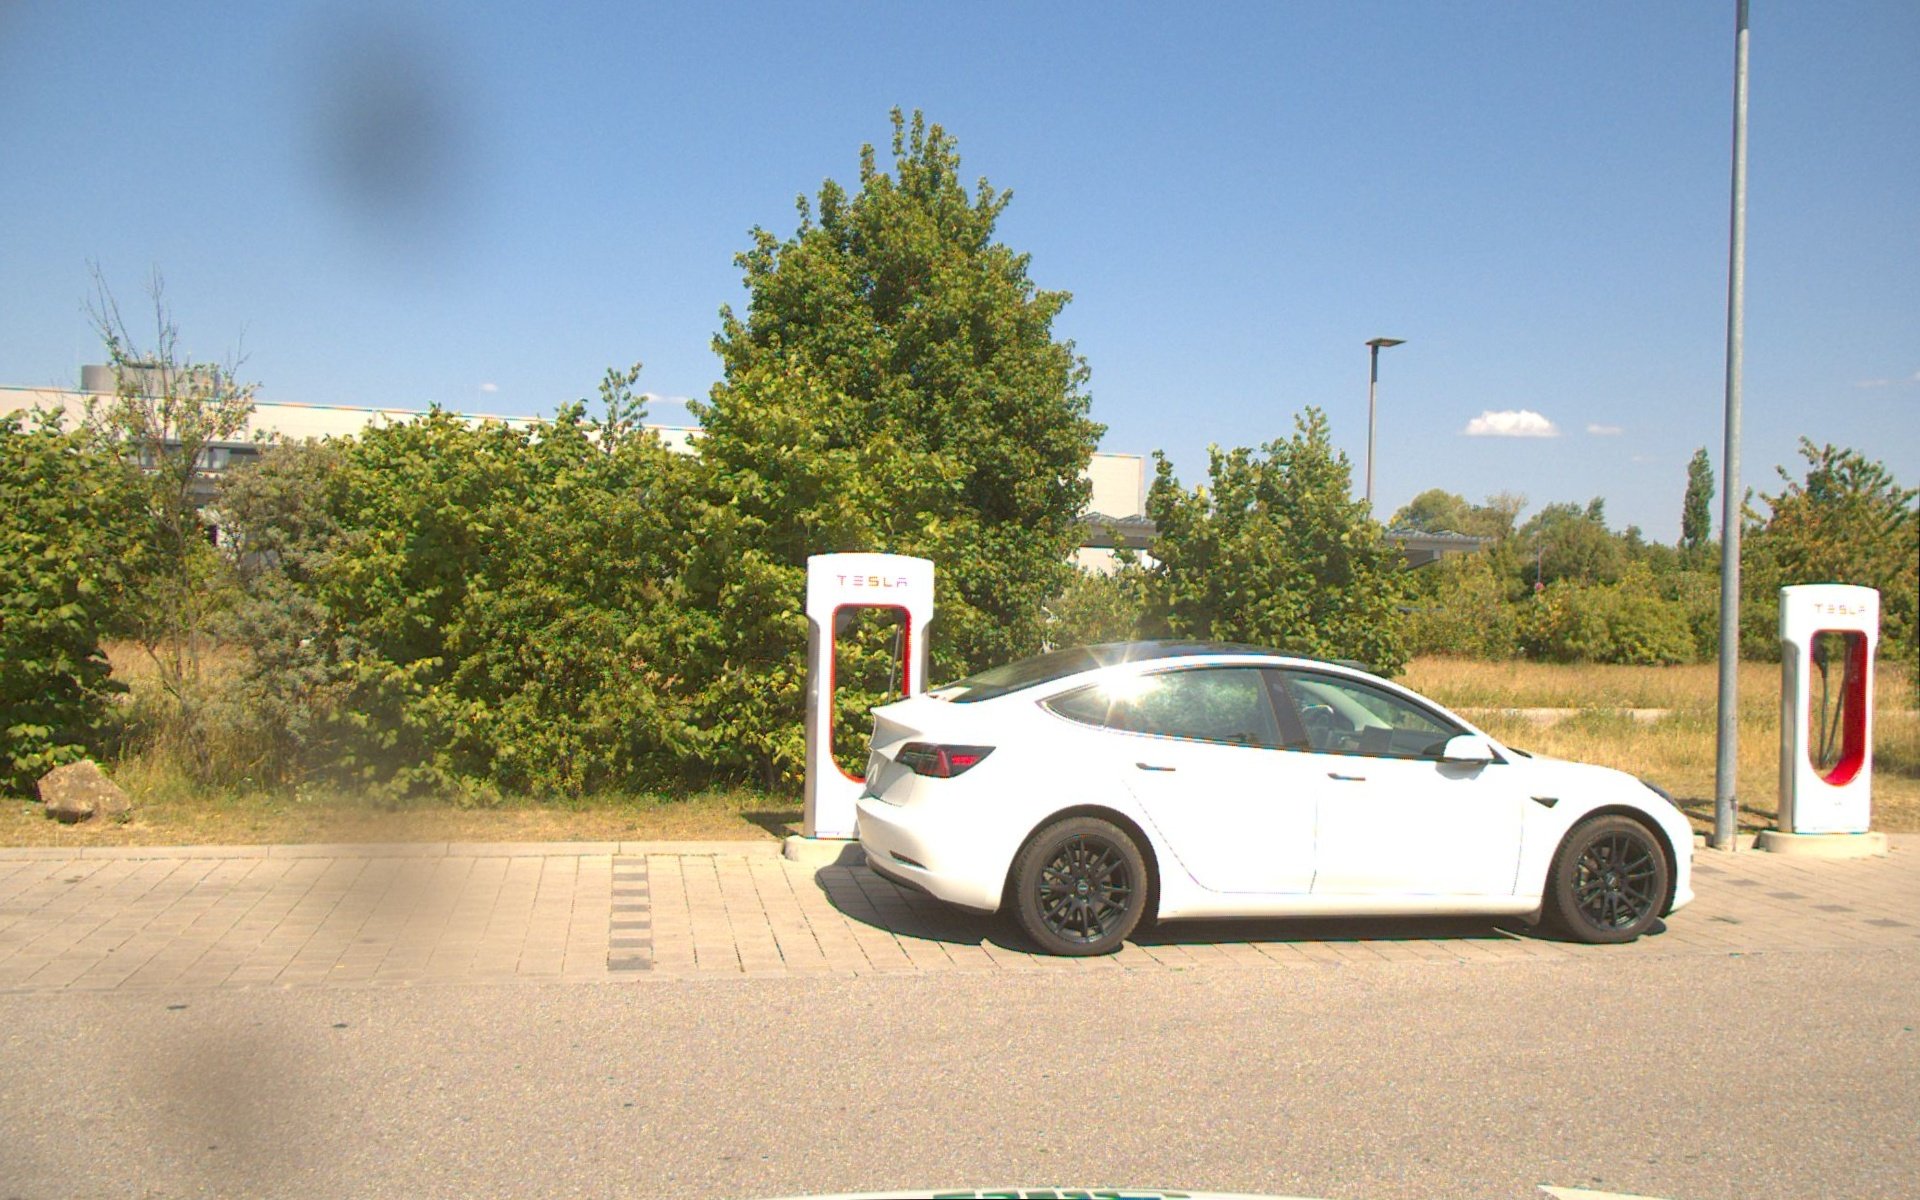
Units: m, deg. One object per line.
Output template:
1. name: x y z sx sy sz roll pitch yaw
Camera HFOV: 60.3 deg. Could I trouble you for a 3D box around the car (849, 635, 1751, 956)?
1. car: 1.696 0.949 8.833 4.355 1.401 1.817 1 0 -12
